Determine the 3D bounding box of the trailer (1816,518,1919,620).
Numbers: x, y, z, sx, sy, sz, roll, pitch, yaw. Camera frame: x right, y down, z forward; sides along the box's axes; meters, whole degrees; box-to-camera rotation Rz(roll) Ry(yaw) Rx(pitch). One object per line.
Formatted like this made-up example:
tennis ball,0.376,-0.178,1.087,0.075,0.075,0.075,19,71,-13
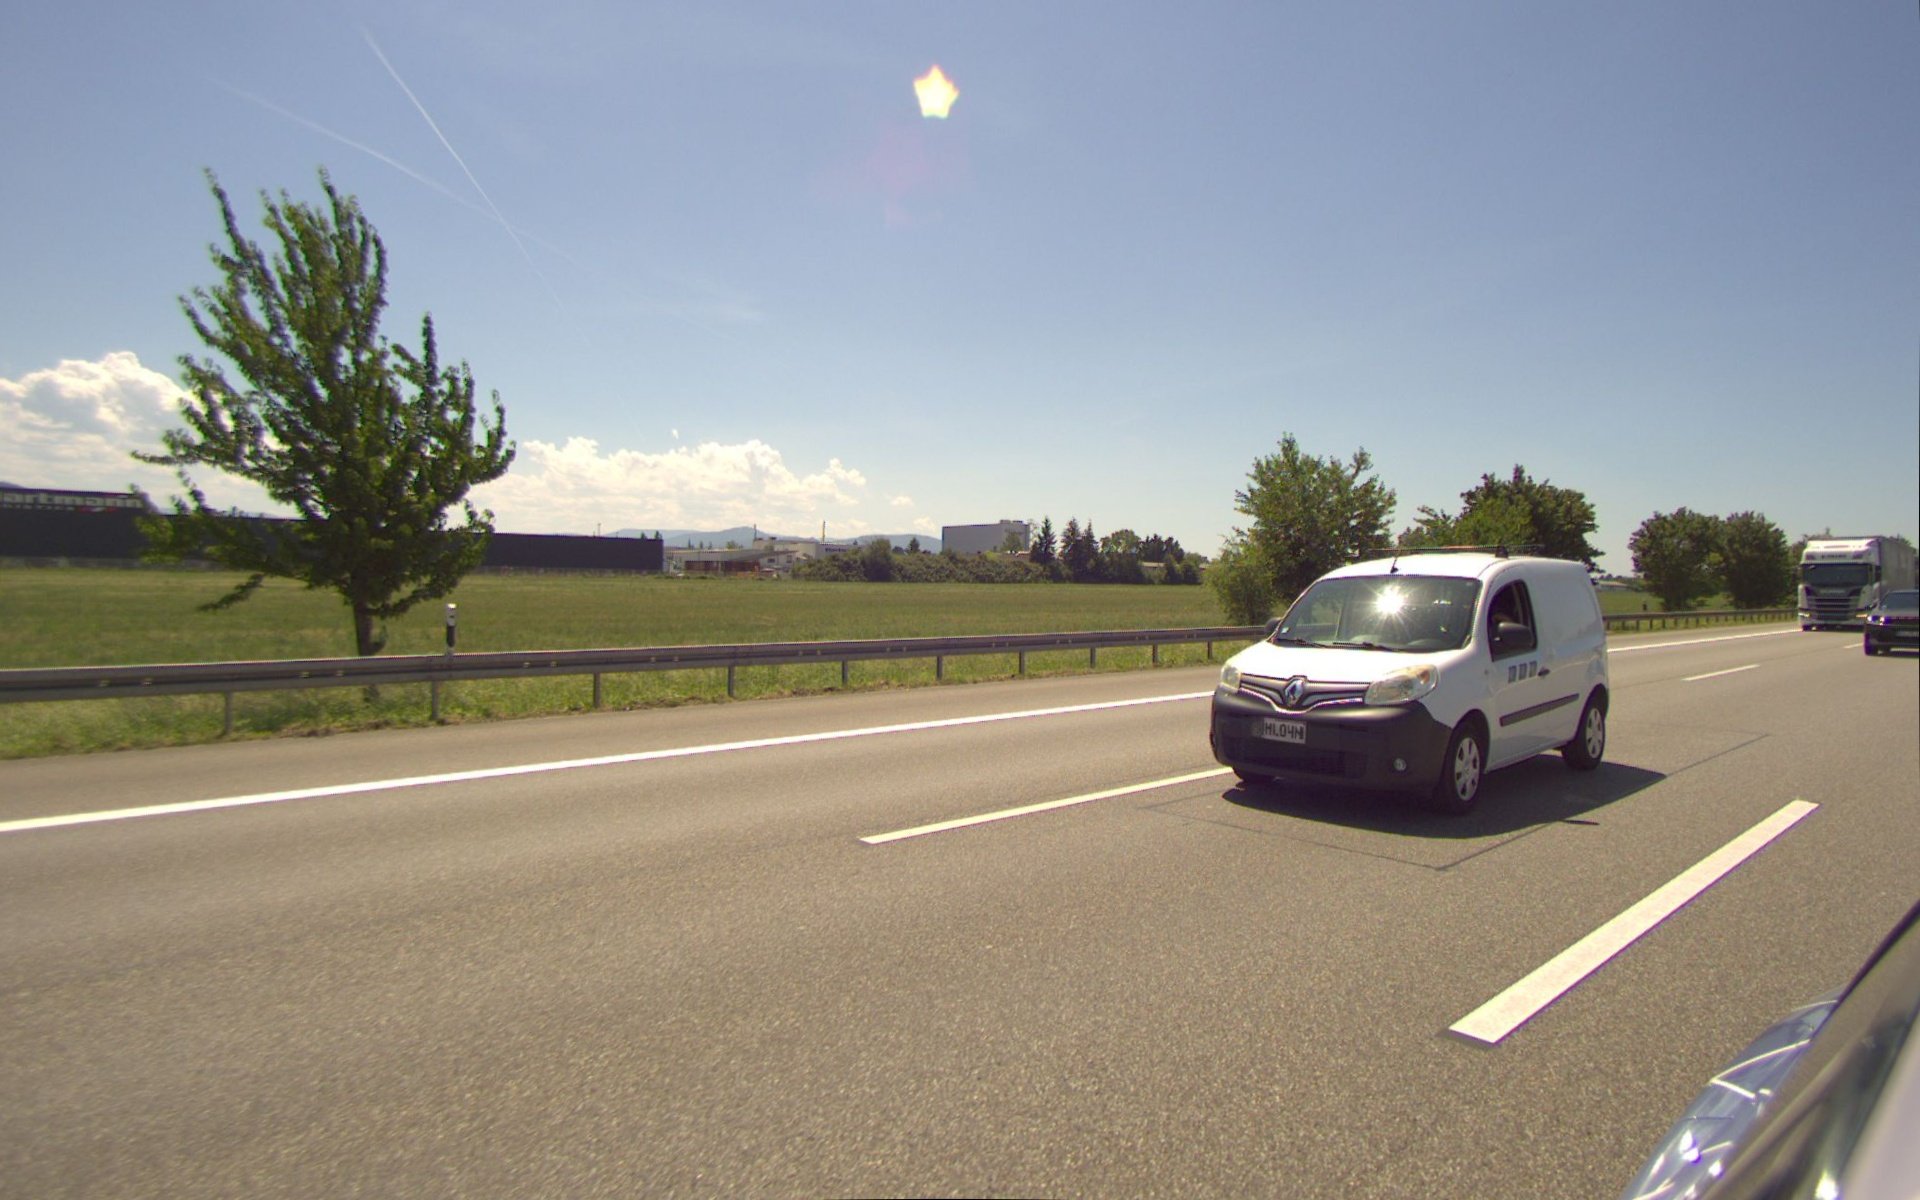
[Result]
trailer,44.482,-1.347,48.689,14.003,4.359,2.815,0,0,-41

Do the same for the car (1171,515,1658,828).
car,3.922,0.417,8.323,4.619,1.886,1.856,0,0,-40

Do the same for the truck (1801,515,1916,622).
truck,39.644,-1.314,44.562,7.066,4.359,2.815,0,0,-40

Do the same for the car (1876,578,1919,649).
car,25.024,0.312,25.791,4.662,1.696,1.871,0,0,-40
